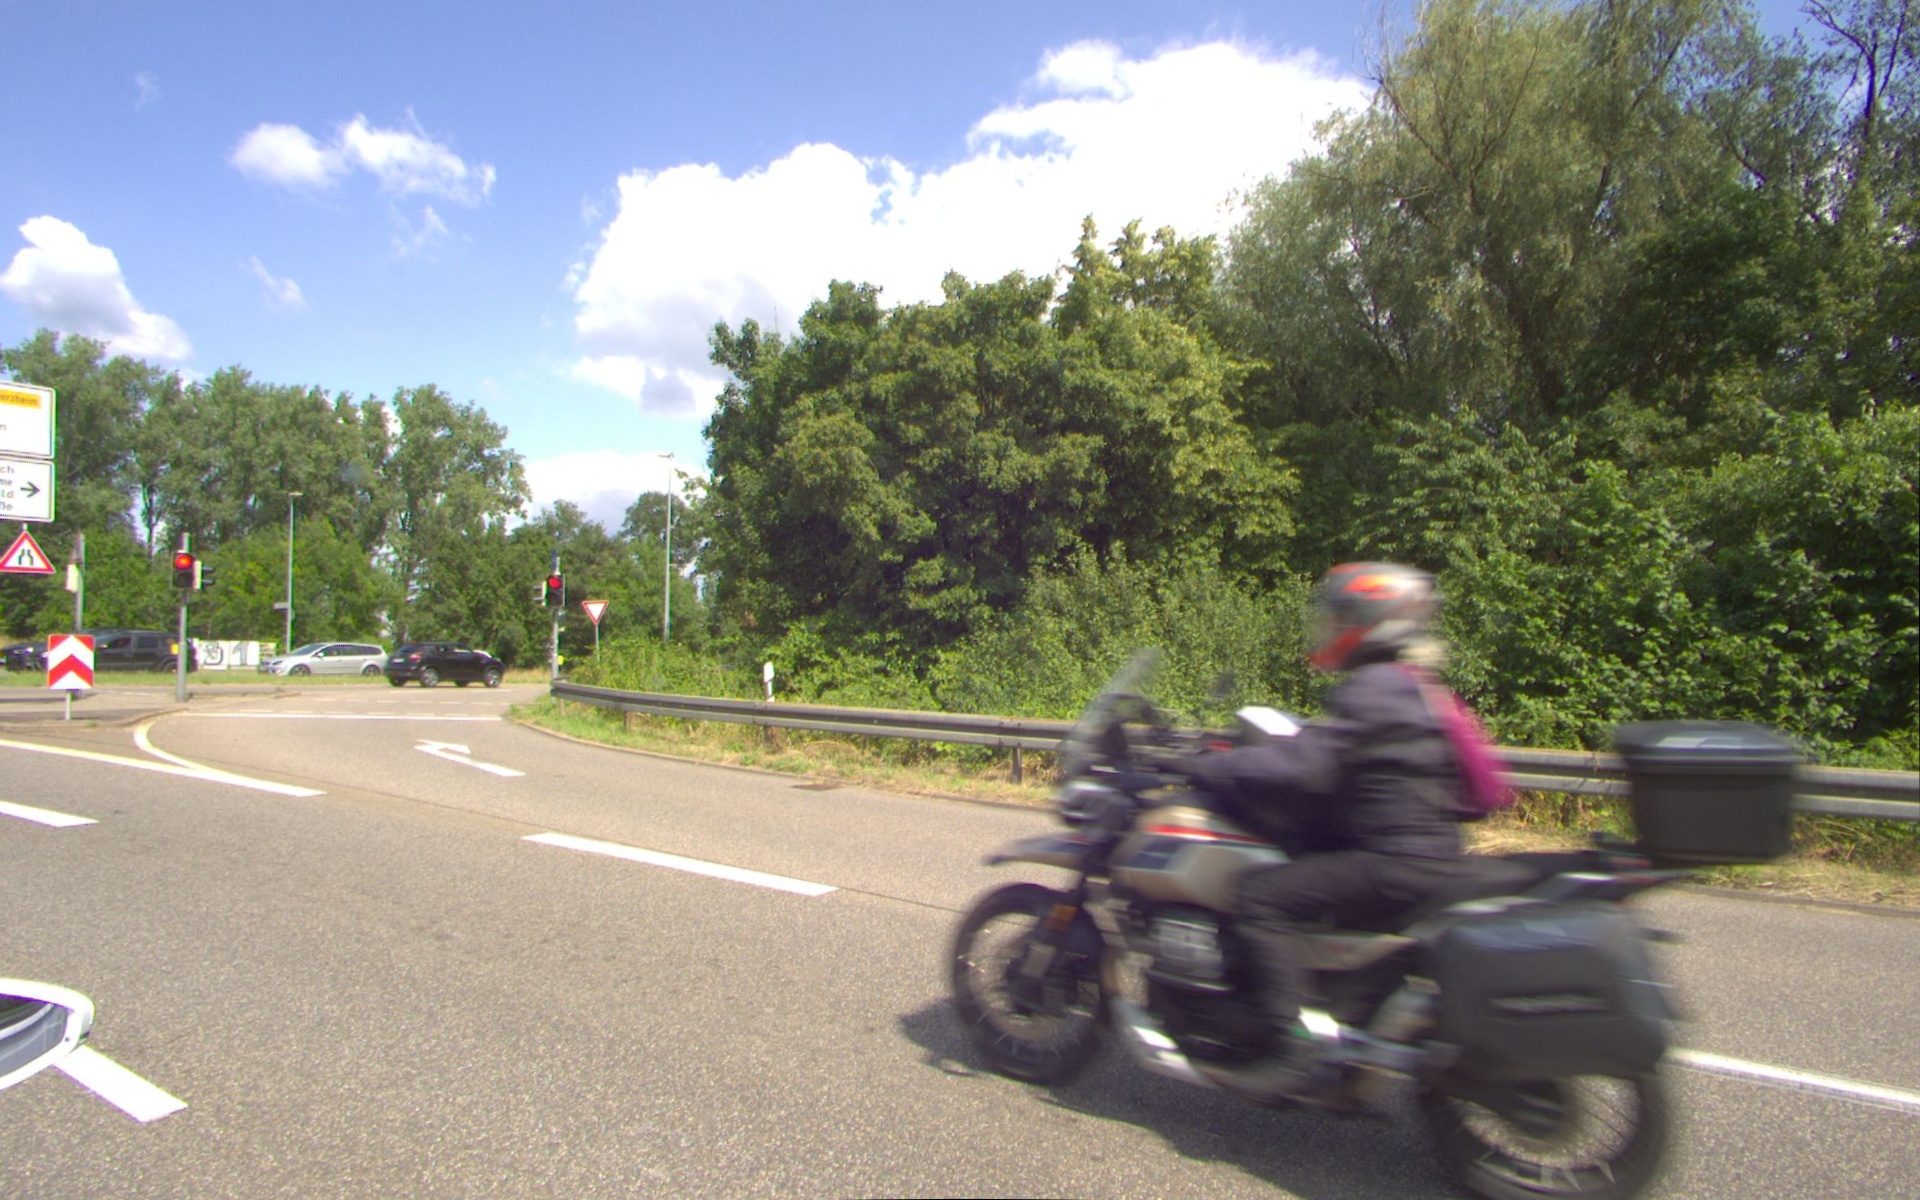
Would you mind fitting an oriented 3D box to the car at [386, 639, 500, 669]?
[{"bbox_3d":[-23.914,2.507,46.494,1.710,1.297,4.491,0,-3,29],"label":"car"}]

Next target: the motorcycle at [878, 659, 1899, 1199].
[{"bbox_3d":[0.984,0.897,2.867,2.336,1.401,0.935,-1,-2,32],"label":"motorcycle"}]

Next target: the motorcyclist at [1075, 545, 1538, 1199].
[{"bbox_3d":[1.018,0.709,2.852,1.068,1.611,0.935,0,-2,32],"label":"motorcyclist"}]

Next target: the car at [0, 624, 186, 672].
[{"bbox_3d":[-30.416,1.692,35.160,1.711,1.564,4.842,0,-3,31],"label":"car"}]

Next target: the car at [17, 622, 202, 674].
[{"bbox_3d":[-27.551,1.560,32.582,1.711,1.564,4.264,0,-3,31],"label":"car"}]

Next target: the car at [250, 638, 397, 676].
[{"bbox_3d":[-24.200,2.150,38.258,1.710,1.337,4.471,0,-3,29],"label":"car"}]

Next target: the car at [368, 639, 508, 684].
[{"bbox_3d":[-18.030,2.130,34.767,1.921,1.436,3.961,0,-3,24],"label":"car"}]
